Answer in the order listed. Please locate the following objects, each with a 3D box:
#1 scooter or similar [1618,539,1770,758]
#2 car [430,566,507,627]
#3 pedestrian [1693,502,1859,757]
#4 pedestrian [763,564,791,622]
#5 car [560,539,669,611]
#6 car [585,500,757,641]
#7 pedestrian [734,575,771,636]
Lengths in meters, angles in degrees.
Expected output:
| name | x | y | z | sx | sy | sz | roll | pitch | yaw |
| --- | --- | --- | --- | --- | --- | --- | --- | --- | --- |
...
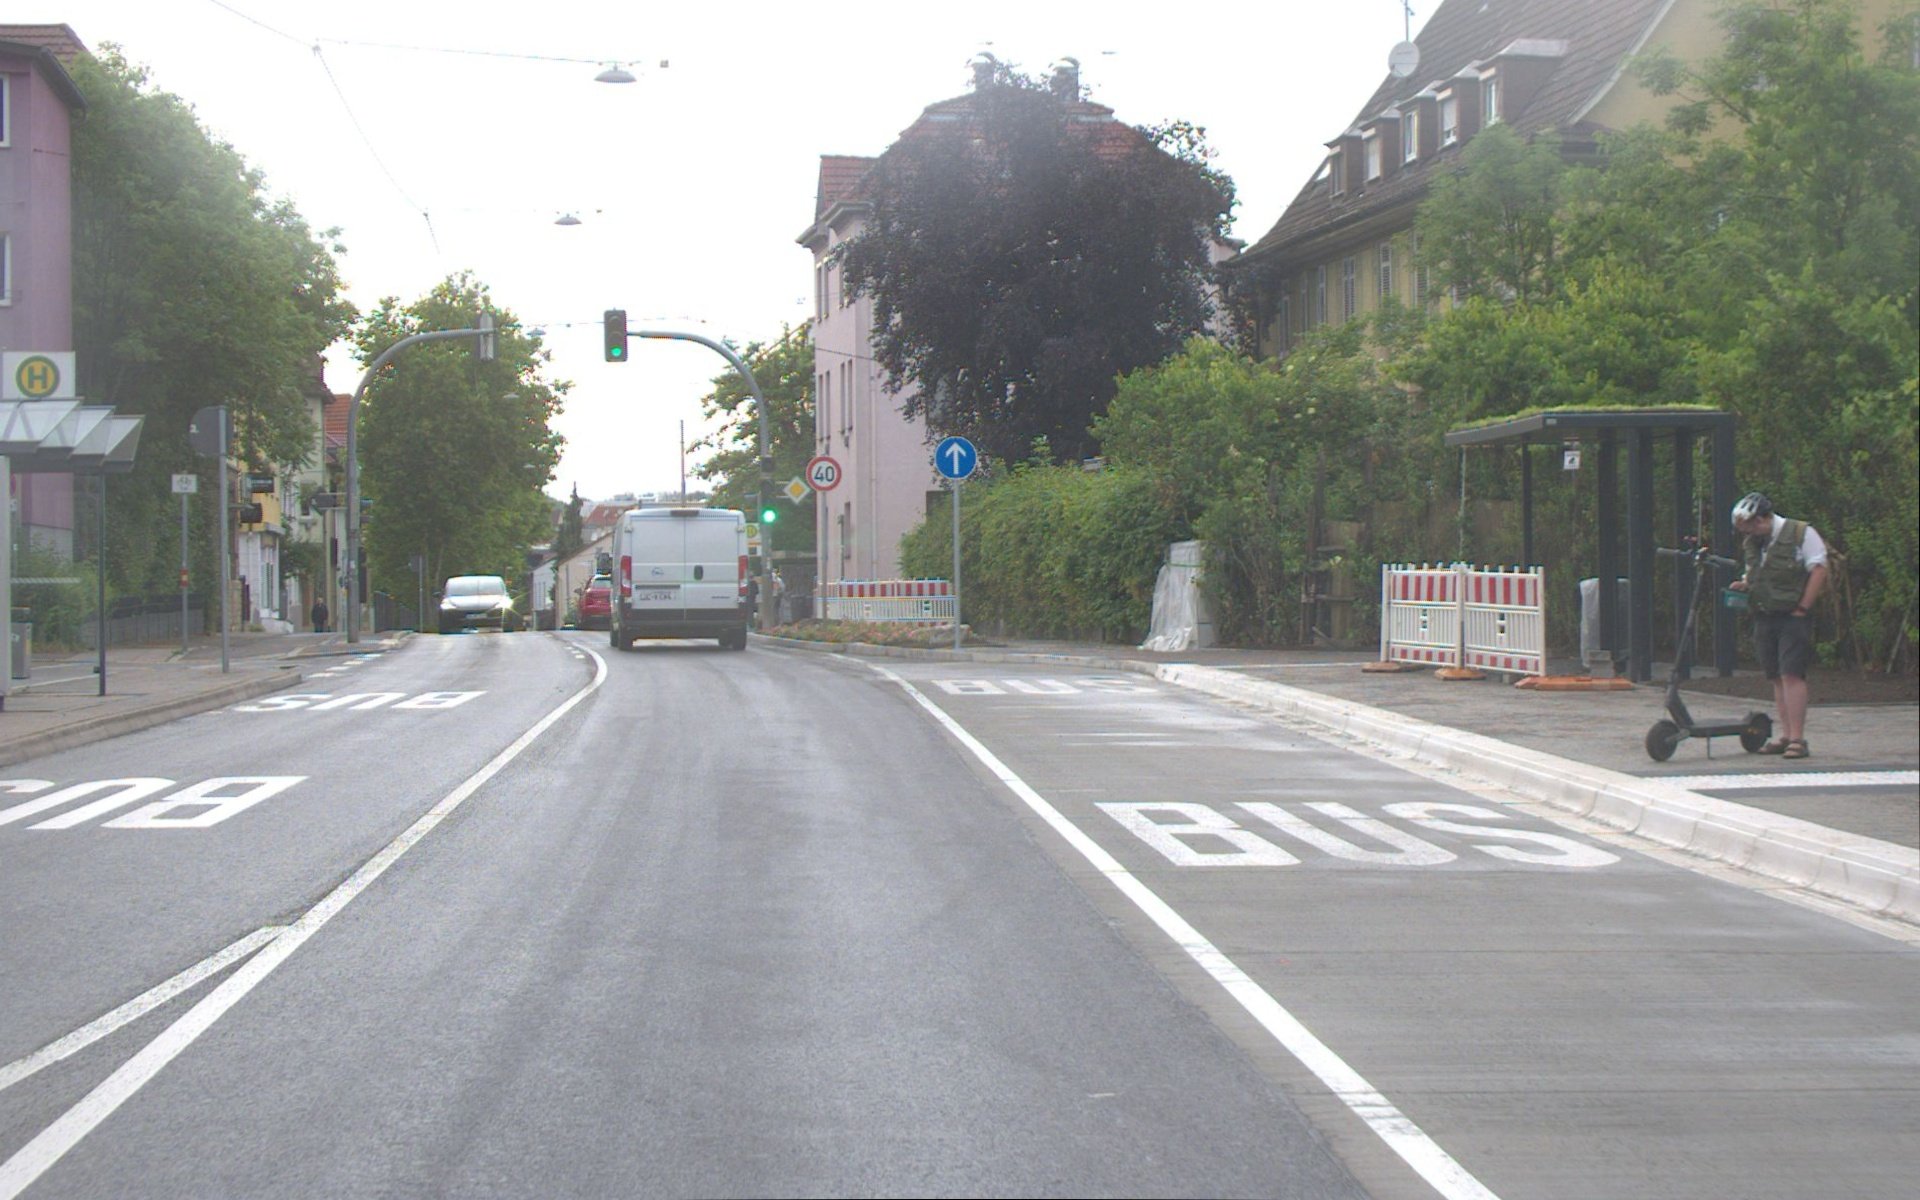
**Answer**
| name | x | y | z | sx | sy | sz | roll | pitch | yaw |
| --- | --- | --- | --- | --- | --- | --- | --- | --- | --- |
| scooter or similar | 4.523 | 0.284 | 21.152 | 1.239 | 1.311 | 0.232 | -1 | 1 | -42 |
| car | -12.302 | -0.110 | 85.896 | 1.783 | 1.447 | 4.391 | -1 | 1 | -9 |
| pedestrian | 5.051 | 0.169 | 21.280 | 0.918 | 1.541 | 0.545 | -1 | 1 | -39 |
| pedestrian | -5.518 | -0.206 | 103.754 | 0.660 | 1.735 | 0.829 | -2 | 0 | -13 |
| car | -8.705 | -0.614 | 86.295 | 2.346 | 1.722 | 4.778 | -1 | 0 | -10 |
| car | -4.733 | -0.466 | 55.707 | 2.346 | 2.153 | 4.778 | -1 | 0 | -10 |
| pedestrian | -5.988 | 0.162 | 99.143 | 0.634 | 1.704 | 0.749 | -3 | 0 | -41 |
